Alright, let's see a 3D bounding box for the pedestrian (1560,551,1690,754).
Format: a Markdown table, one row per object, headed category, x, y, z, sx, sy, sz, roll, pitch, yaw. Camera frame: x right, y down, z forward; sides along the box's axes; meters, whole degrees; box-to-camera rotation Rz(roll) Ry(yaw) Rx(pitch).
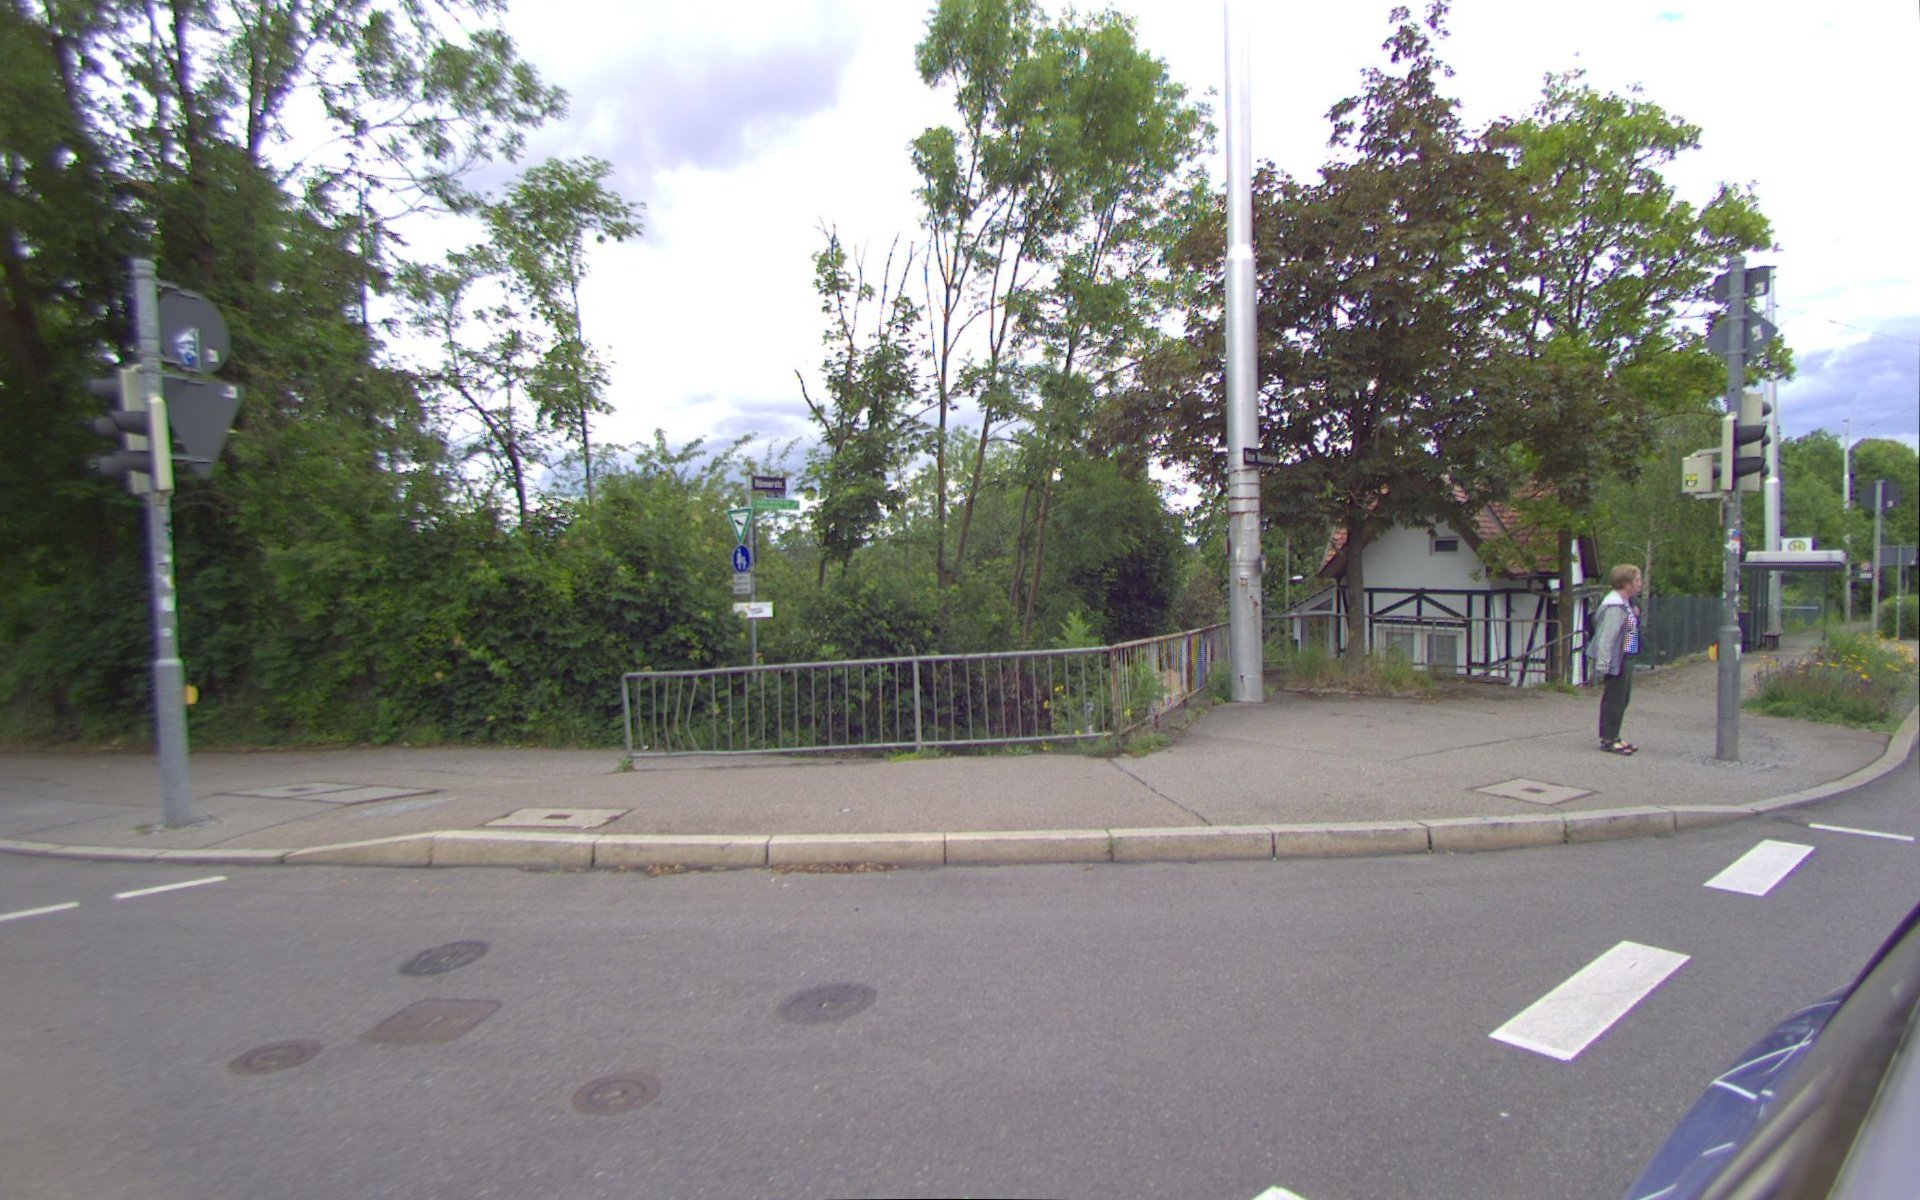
| category | x | y | z | sx | sy | sz | roll | pitch | yaw |
| --- | --- | --- | --- | --- | --- | --- | --- | --- | --- |
| pedestrian | 5.885 | 0.430 | 8.973 | 0.607 | 1.709 | 0.697 | 0 | 2 | -22 |
